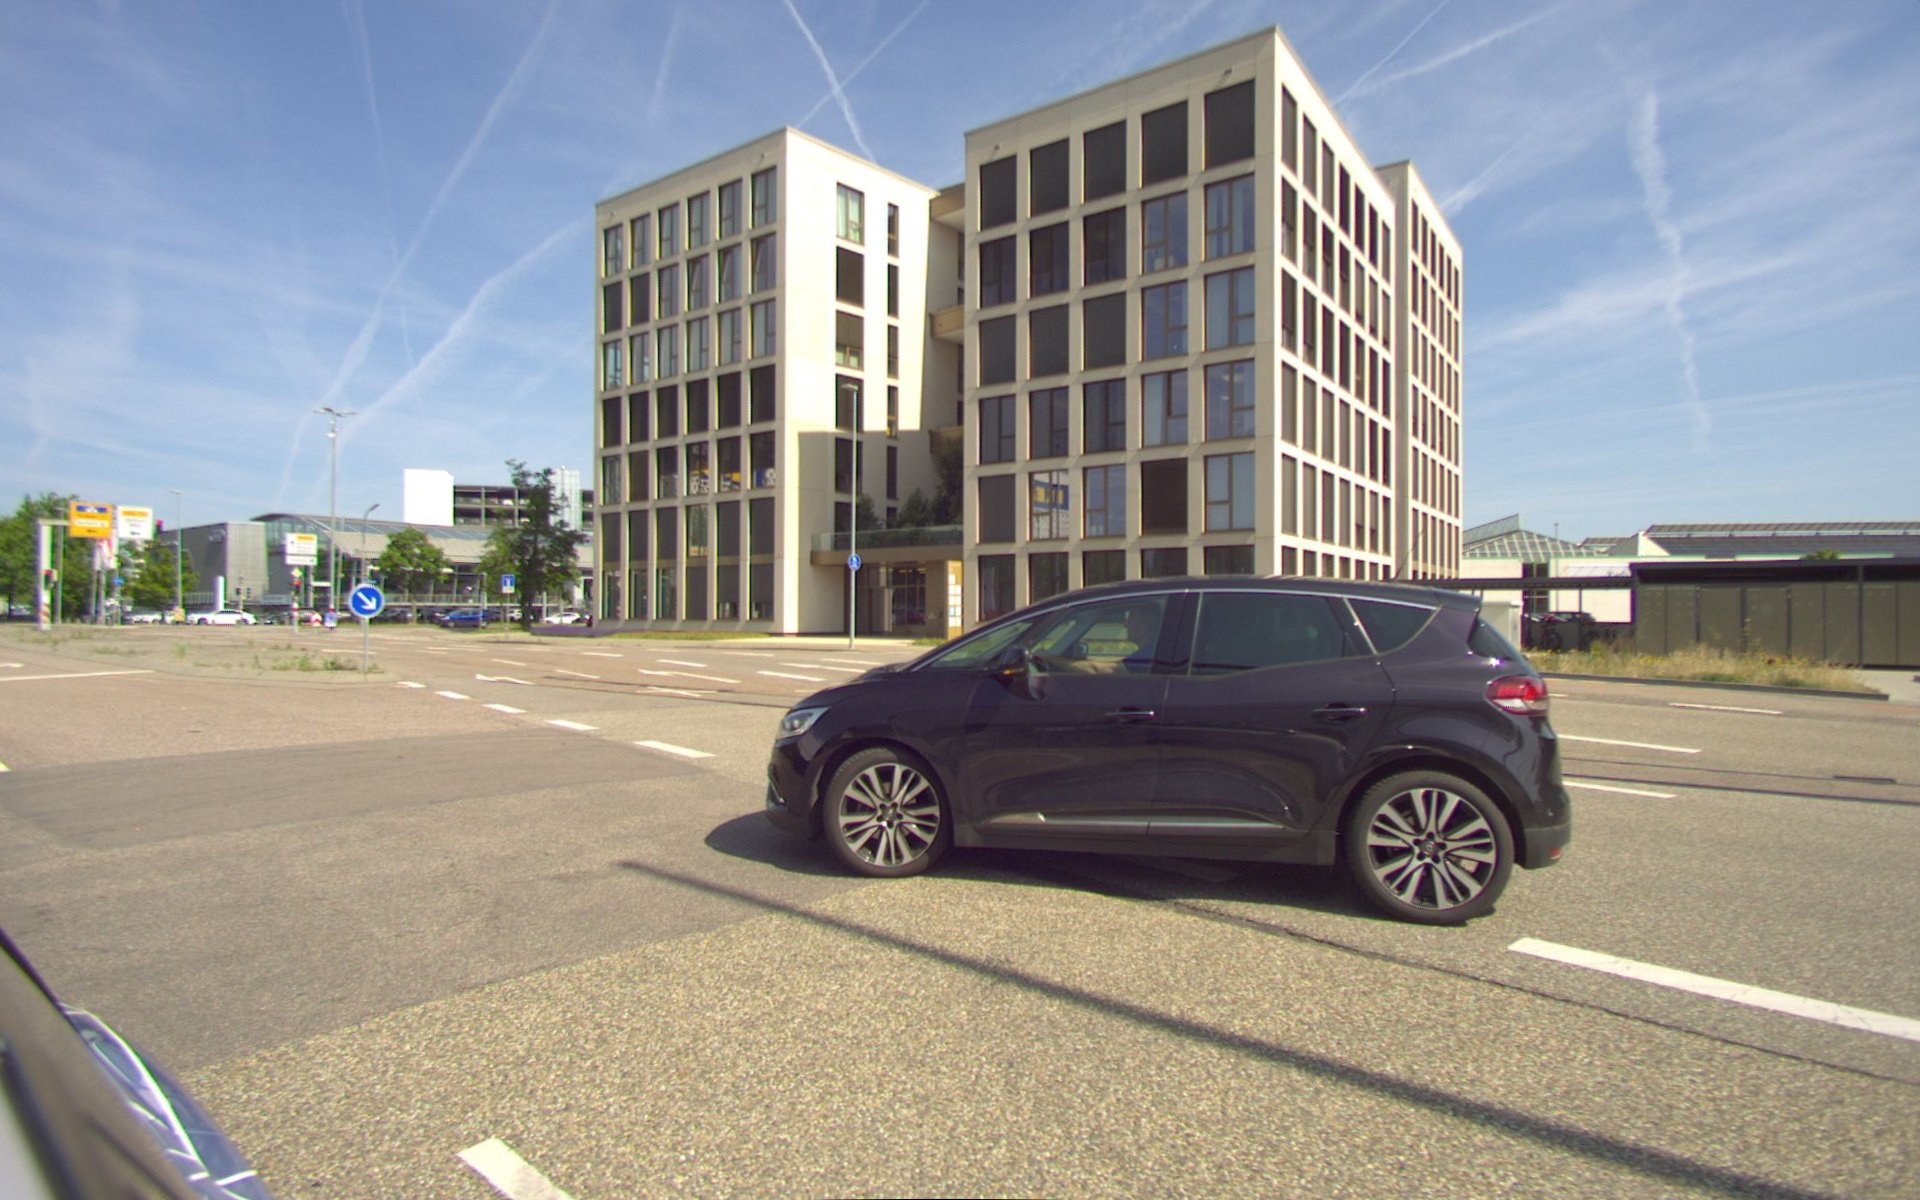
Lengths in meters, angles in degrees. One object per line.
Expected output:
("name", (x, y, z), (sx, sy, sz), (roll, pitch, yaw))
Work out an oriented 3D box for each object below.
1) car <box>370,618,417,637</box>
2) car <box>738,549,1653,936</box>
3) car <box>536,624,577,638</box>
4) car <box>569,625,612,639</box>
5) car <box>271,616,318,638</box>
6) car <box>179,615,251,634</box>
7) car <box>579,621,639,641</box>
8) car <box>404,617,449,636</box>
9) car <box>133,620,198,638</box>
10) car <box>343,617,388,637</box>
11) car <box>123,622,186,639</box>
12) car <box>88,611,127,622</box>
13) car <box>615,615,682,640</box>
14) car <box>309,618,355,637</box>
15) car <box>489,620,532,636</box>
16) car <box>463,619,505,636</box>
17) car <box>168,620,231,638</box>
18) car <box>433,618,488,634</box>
("car", (-50.092, 2.429, 89.461), (4.766, 1.517, 1.772), (-4, -4, 35))
("car", (1.097, 0.631, 5.745), (4.233, 1.618, 1.912), (-1, -1, 16))
("car", (-43.179, 3.275, 108.208), (3.957, 1.453, 1.803), (1, -2, -25))
("car", (-37.947, 3.286, 103.998), (3.958, 1.453, 1.803), (1, -2, -28))
("car", (-54.505, 2.209, 82.832), (4.586, 1.626, 1.797), (-4, -4, 36))
("car", (-60.217, 1.995, 81.816), (1.897, 1.443, 4.331), (-1, -2, 37))
("car", (-26.221, 2.316, 75.671), (3.968, 1.426, 1.810), (0, -2, -6))
("car", (-48.321, 2.437, 91.658), (4.663, 1.529, 1.762), (-4, -4, 35))
("car", (-68.846, 2.550, 87.730), (1.874, 1.380, 4.036), (-1, -4, 35))
("car", (-51.213, 2.320, 87.167), (4.366, 1.556, 1.772), (-4, -4, 35))
("car", (-71.003, 2.693, 89.217), (1.864, 1.329, 3.952), (-1, -4, 35))
("car", (-127.850, 2.502, 151.873), (1.687, 1.511, 4.148), (-1, -4, 36))
("car", (-24.174, 2.148, 78.710), (4.738, 1.835, 1.901), (0, -2, -8))
("car", (-52.525, 2.324, 84.670), (4.190, 1.453, 1.772), (-4, -4, 35))
("car", (-43.606, 2.711, 98.081), (4.549, 1.453, 1.772), (-3, -3, 35))
("car", (-45.089, 2.629, 95.837), (4.392, 1.453, 1.772), (-4, -3, 35))
("car", (-62.370, 2.360, 83.069), (1.759, 1.413, 3.802), (-1, -2, 34))
("car", (-40.691, 2.130, 82.490), (1.660, 1.299, 3.749), (-1, -2, 44))
